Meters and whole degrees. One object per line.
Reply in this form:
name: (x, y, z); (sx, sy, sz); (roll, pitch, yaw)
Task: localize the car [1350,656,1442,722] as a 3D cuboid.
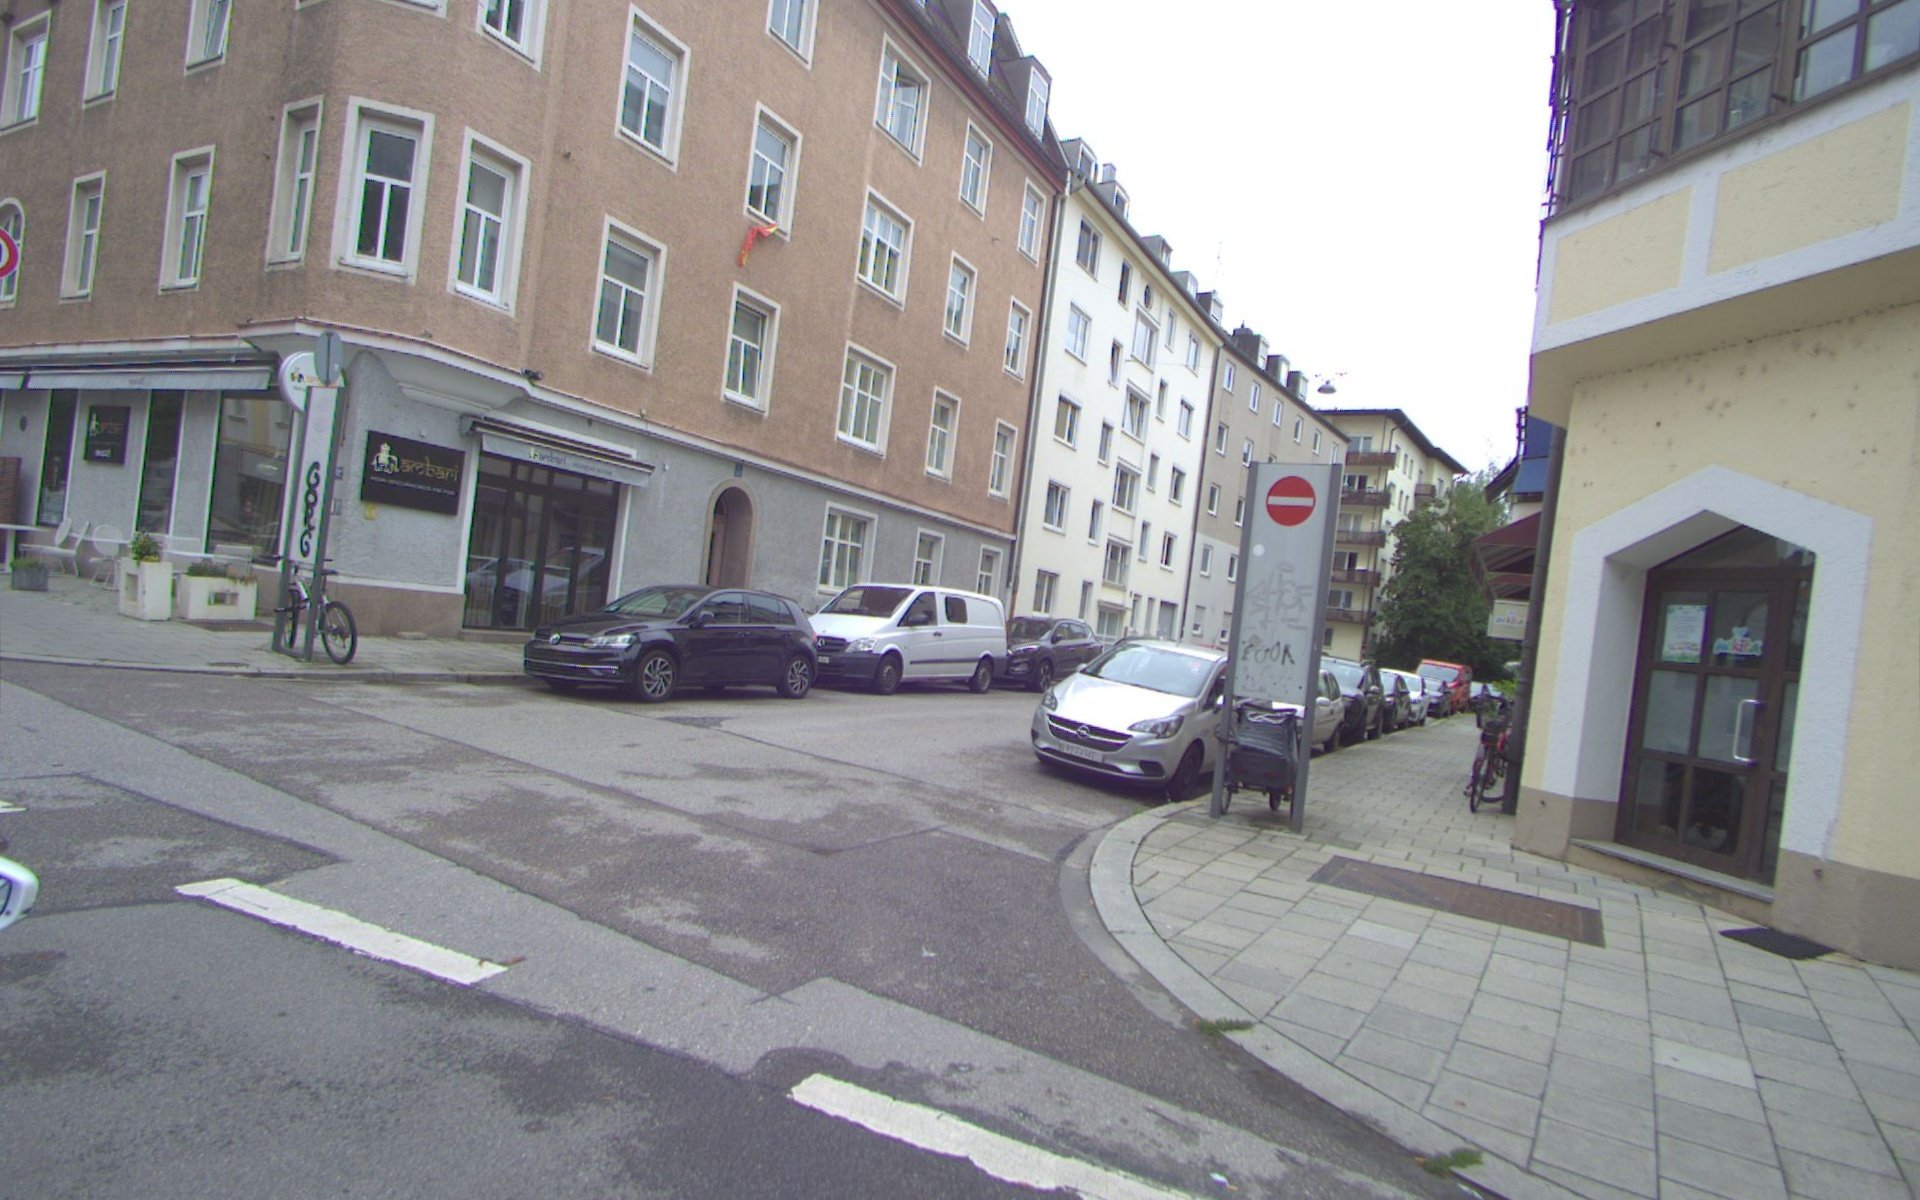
car: (13.254, 2.690, 30.419); (1.945, 1.587, 4.425); (7, -1, 30)

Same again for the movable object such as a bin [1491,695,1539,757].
movable object such as a bin: (10.410, 2.343, 18.867); (0.672, 1.026, 1.124); (7, 0, 30)

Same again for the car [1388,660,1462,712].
car: (17.621, 3.261, 38.012); (1.945, 1.587, 4.424); (7, -1, 31)

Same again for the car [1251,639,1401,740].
car: (7.497, 1.799, 20.337); (1.952, 1.603, 4.021); (7, -1, 32)

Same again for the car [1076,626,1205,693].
car: (5.337, 1.777, 29.192); (1.946, 1.521, 4.662); (7, -2, 32)

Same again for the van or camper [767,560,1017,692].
van or camper: (-1.017, 0.570, 18.071); (1.928, 1.942, 4.908); (5, -2, 31)

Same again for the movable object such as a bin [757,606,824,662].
movable object such as a bin: (-3.341, 0.665, 19.843); (0.951, 0.962, 0.734); (8, 1, 22)

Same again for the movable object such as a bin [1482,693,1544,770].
movable object such as a bin: (9.062, 2.123, 16.464); (0.754, 1.094, 1.124); (7, 0, 30)

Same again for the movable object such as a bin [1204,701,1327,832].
movable object such as a bin: (2.618, 1.375, 8.548); (0.672, 0.911, 1.124); (7, 0, 30)

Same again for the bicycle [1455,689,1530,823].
bicycle: (5.614, 1.573, 10.557); (0.507, 1.201, 1.903); (7, 0, 30)

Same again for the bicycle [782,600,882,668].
bicycle: (-2.653, 0.690, 20.798); (1.892, 1.158, 0.475); (7, 1, 13)

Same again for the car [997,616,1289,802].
car: (2.199, 1.147, 11.239); (1.723, 1.458, 3.737); (10, 2, 33)

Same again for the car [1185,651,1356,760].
car: (5.016, 1.614, 15.982); (1.612, 1.354, 3.447); (6, 0, 33)

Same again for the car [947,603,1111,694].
car: (1.653, 1.121, 22.745); (1.945, 1.664, 3.989); (7, 0, 31)

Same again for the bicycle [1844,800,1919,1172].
bicycle: (4.122, 1.410, 3.047); (2.019, 1.173, 0.430); (6, 1, 31)

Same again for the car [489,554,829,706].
car: (-3.674, 0.444, 12.959); (1.860, 1.505, 3.879); (7, -1, 30)

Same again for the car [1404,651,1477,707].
car: (20.288, 3.350, 42.388); (2.032, 2.002, 4.422); (7, -1, 33)

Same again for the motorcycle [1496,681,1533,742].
motorcycle: (13.449, 2.667, 24.375); (0.547, 1.356, 1.882); (7, 0, 32)

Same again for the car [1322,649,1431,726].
car: (10.991, 2.284, 26.345); (1.945, 1.587, 4.425); (7, -1, 30)

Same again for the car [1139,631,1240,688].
car: (7.889, 2.029, 34.238); (1.945, 1.587, 4.661); (7, 0, 30)

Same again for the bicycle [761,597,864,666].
bicycle: (-2.983, 0.627, 20.348); (1.892, 1.158, 0.475); (7, 1, 13)

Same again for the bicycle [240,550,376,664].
bicycle: (-7.219, 0.064, 11.111); (1.773, 1.018, 0.496); (9, 3, 32)
